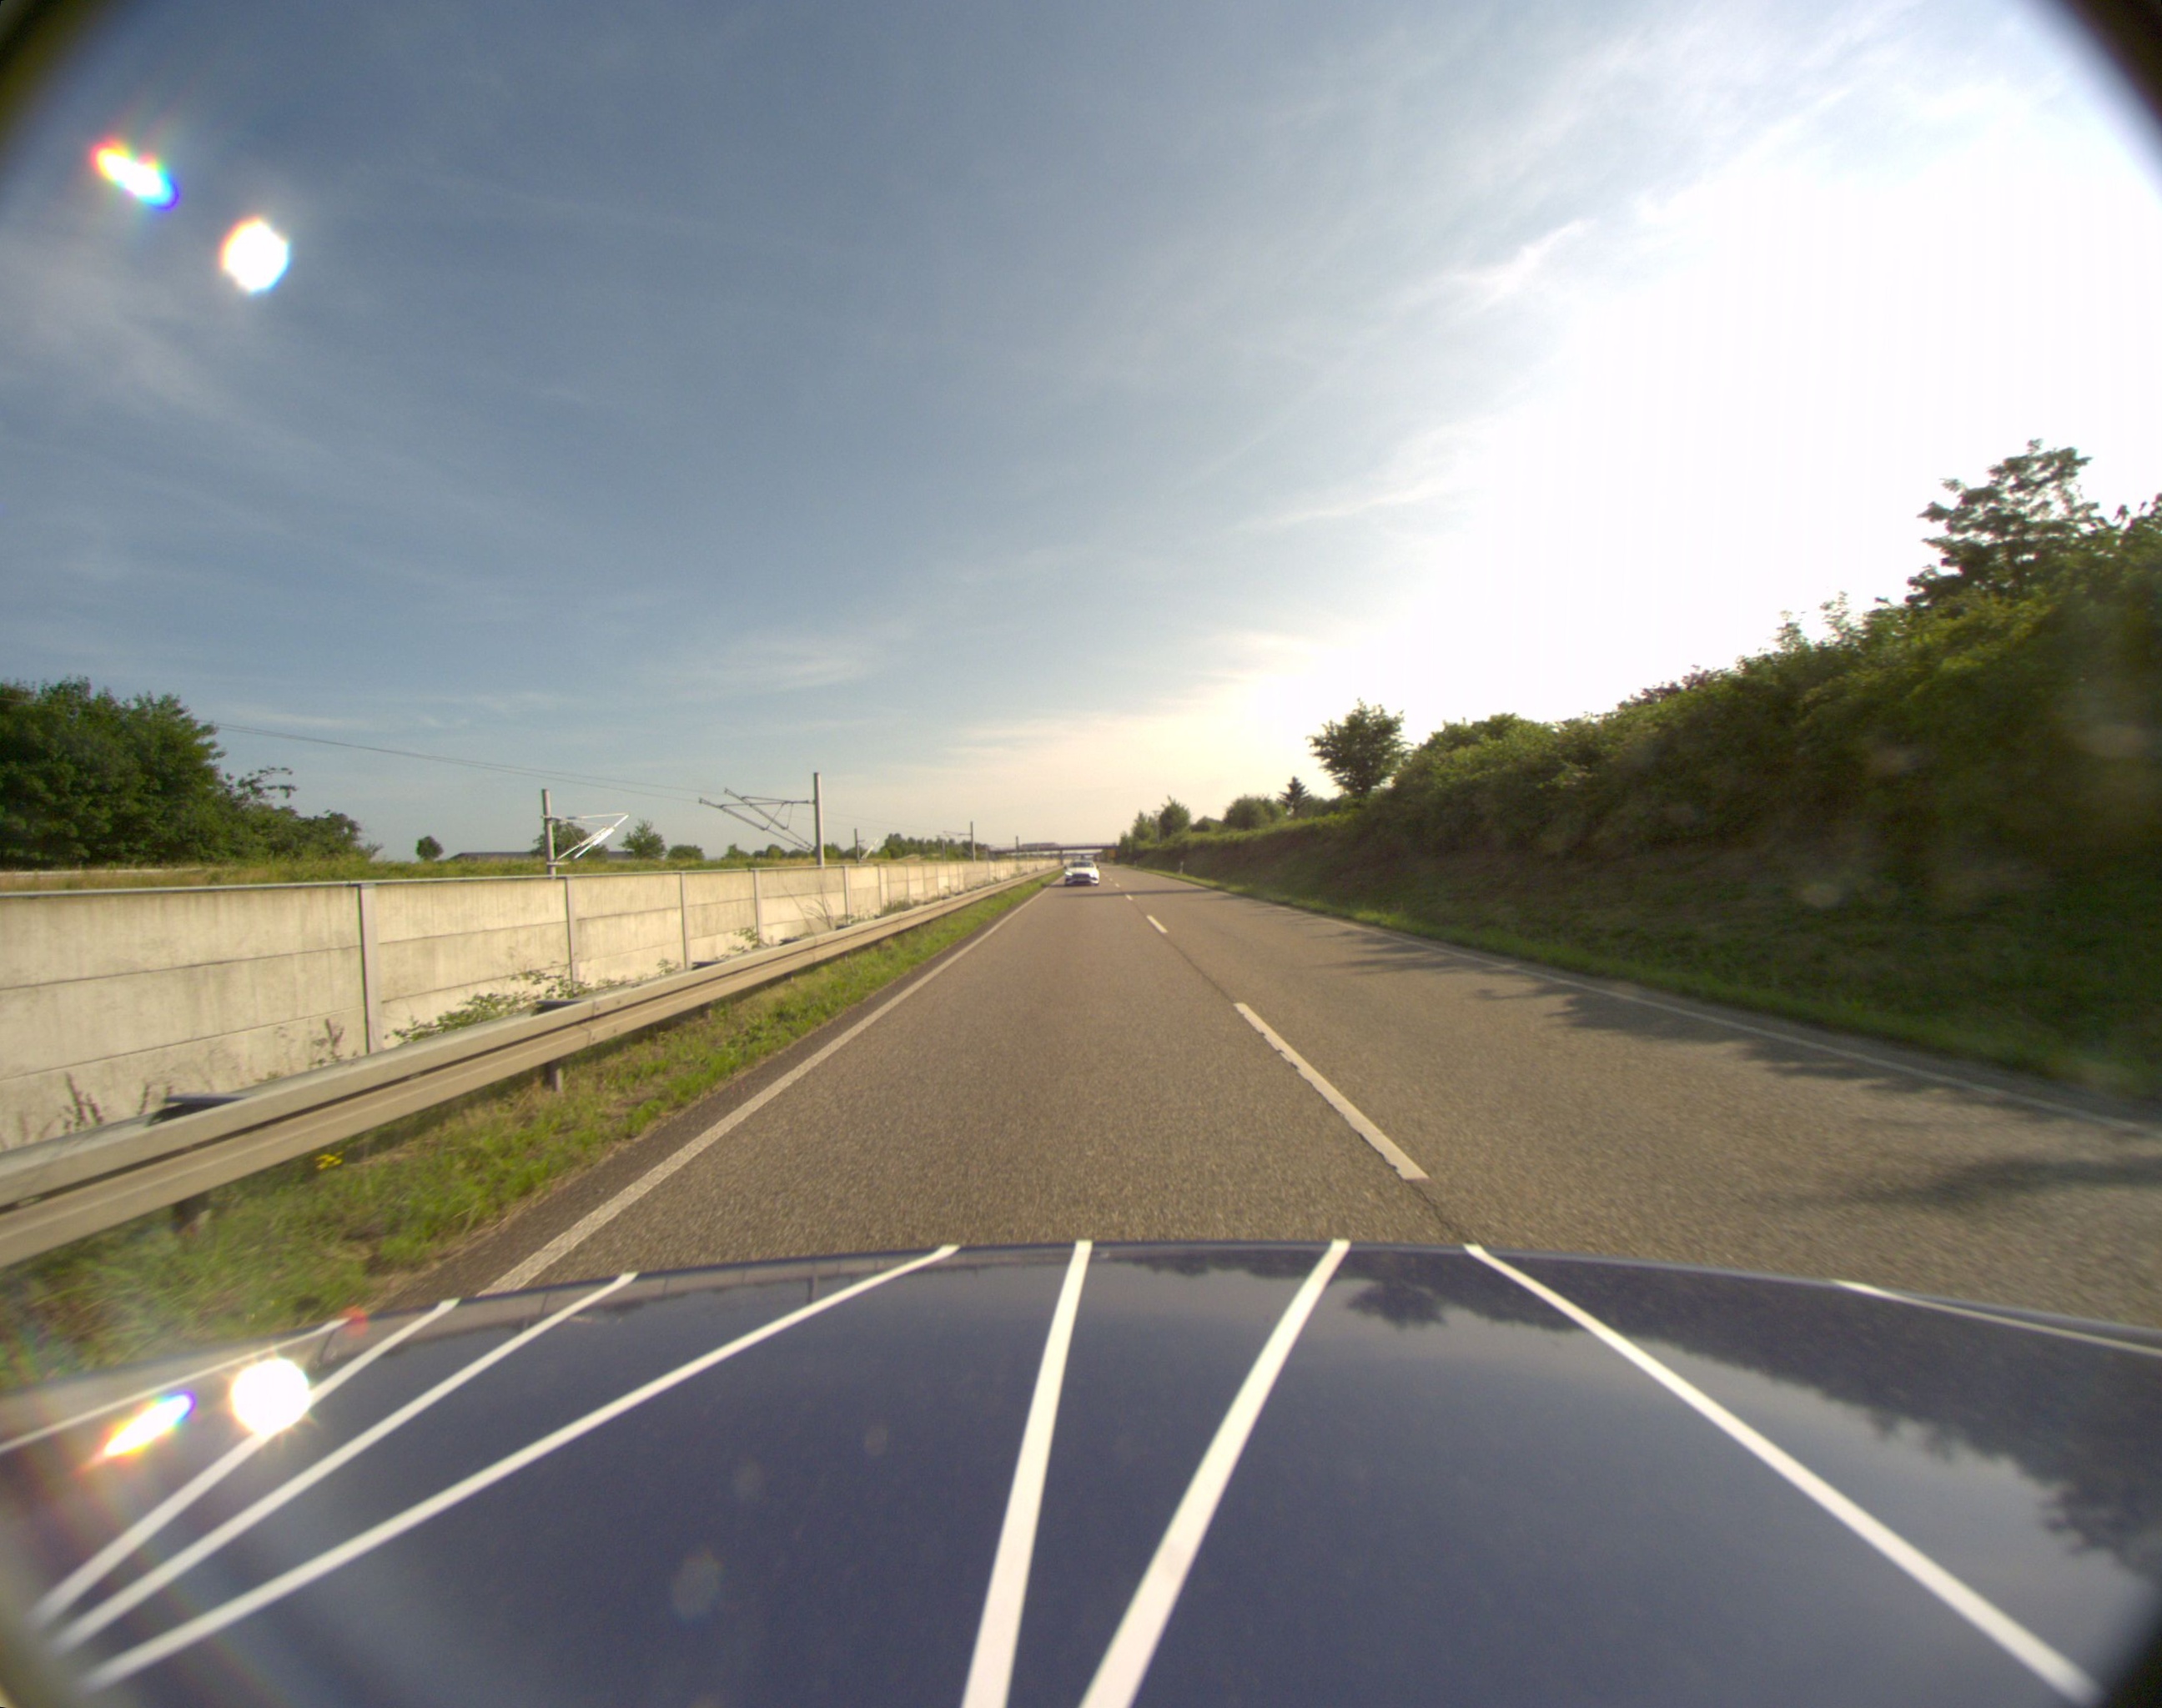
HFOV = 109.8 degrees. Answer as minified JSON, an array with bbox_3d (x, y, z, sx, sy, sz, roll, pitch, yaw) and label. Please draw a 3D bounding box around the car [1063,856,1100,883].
[{"bbox_3d":[0.082,0.843,43.259,1.952,1.430,4.612,-2,0,1],"label":"car"}]
